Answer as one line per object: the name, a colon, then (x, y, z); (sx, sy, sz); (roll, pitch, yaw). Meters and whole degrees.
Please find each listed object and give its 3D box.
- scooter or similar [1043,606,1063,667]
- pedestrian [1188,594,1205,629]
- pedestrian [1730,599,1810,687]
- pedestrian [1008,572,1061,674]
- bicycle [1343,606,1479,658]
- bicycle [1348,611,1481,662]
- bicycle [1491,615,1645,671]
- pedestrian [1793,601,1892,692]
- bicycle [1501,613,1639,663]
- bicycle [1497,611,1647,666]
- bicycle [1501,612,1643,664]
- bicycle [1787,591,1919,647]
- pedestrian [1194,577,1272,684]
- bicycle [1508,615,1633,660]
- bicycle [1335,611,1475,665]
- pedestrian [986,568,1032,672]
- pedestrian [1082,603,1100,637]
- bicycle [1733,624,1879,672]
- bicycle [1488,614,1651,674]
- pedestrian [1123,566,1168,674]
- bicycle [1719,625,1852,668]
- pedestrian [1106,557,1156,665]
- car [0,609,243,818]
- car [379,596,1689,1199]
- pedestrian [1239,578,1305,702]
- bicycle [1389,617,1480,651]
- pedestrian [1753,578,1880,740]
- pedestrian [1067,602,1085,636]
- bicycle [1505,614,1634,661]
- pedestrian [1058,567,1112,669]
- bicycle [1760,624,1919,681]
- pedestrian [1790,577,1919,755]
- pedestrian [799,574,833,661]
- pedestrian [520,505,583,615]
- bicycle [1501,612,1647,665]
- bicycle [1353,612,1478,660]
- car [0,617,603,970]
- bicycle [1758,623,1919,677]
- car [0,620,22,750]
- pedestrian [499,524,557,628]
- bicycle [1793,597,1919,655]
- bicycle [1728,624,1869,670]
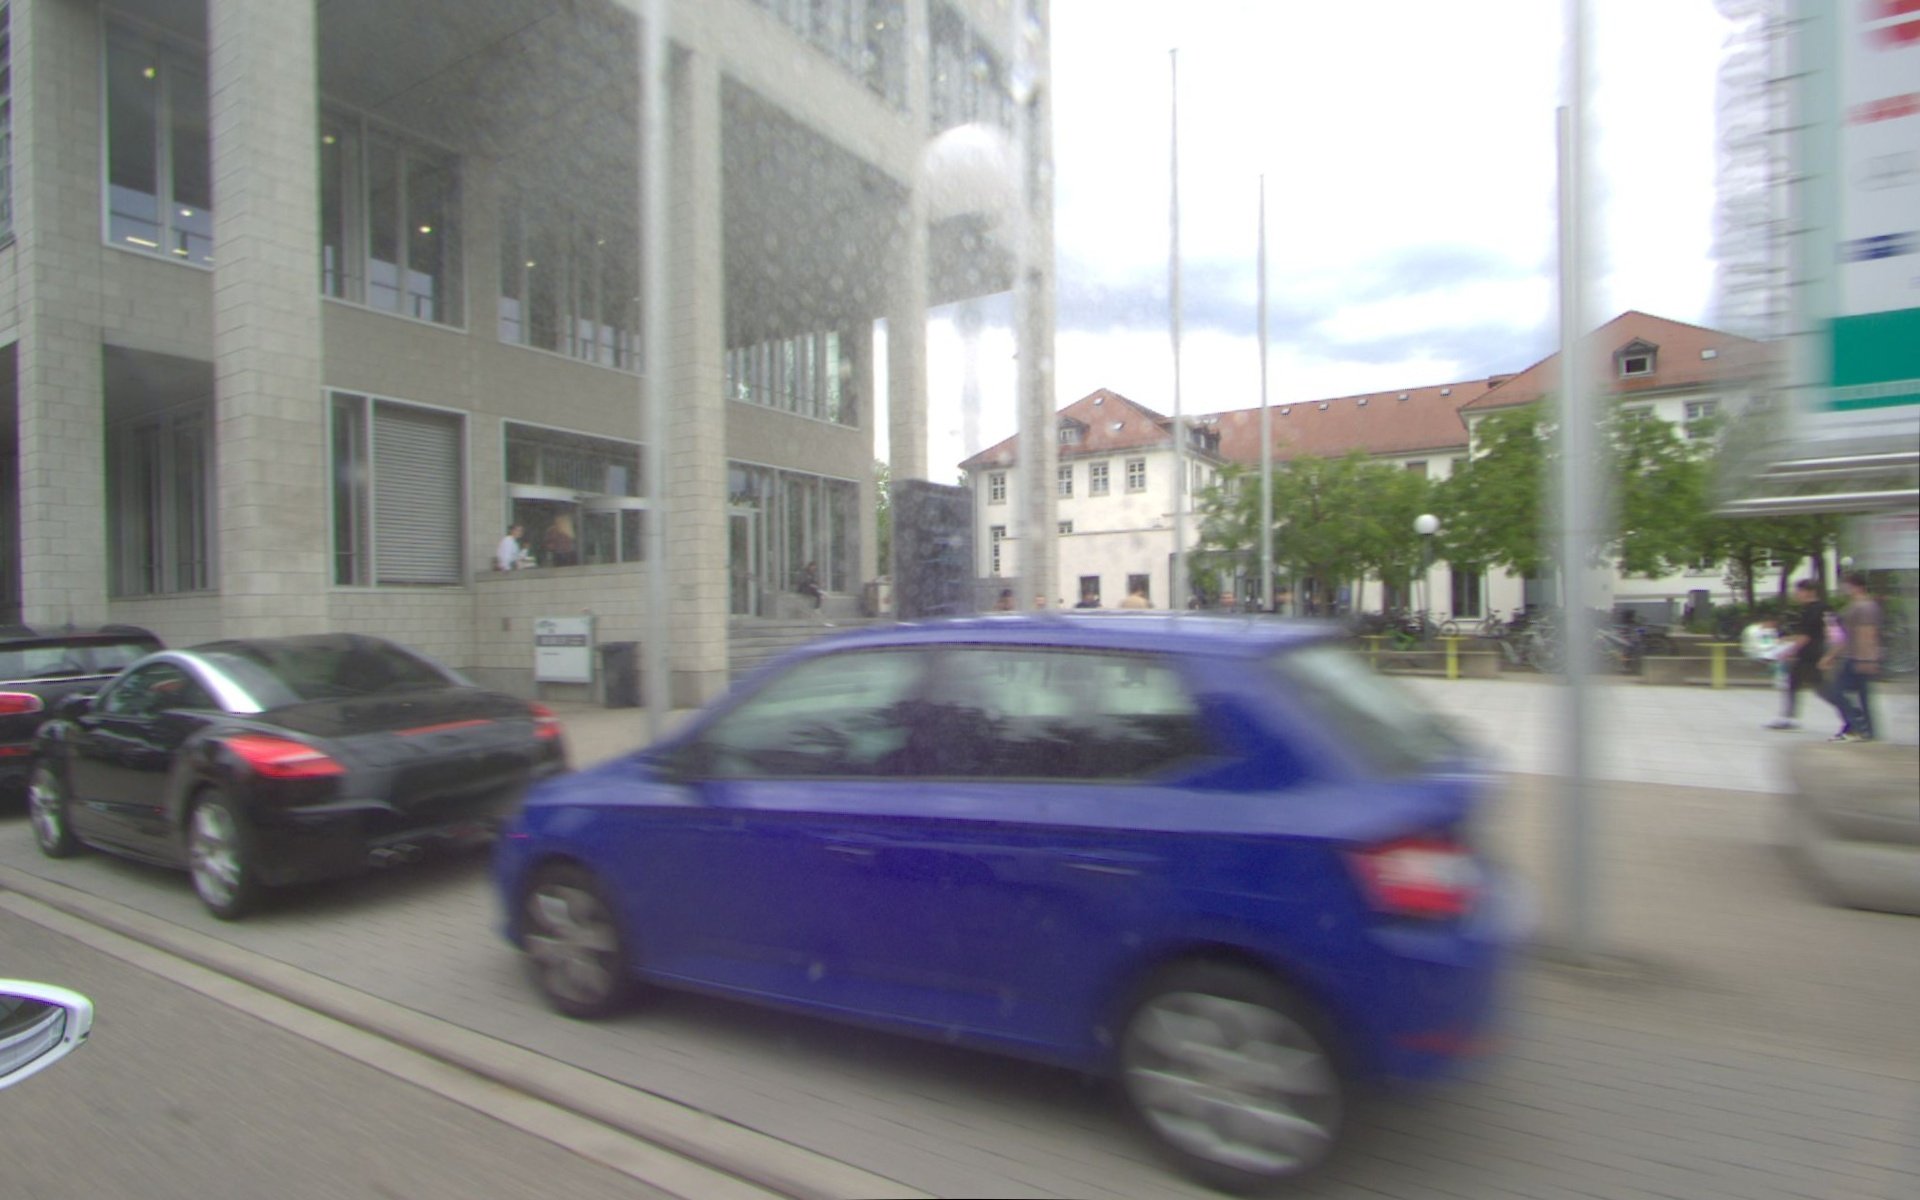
scooter or similar: (2.176, 0.836, 23.581); (0.397, 1.387, 1.492); (2, 0, 4)
pedestrian: (11.402, 0.536, 48.222); (0.649, 1.663, 0.666); (-1, 0, 1)
pedestrian: (13.504, 0.715, 16.711); (0.754, 1.431, 0.673); (-1, 0, 1)
pedestrian: (1.307, 0.397, 17.508); (0.595, 1.738, 0.775); (-1, 0, 33)
bicycle: (11.446, 0.797, 25.510); (3.064, 1.185, 0.744); (2, 0, 34)
bicycle: (11.849, 0.932, 26.179); (3.064, 1.185, 0.744); (2, 0, 34)
bicycle: (14.393, 0.994, 23.782); (3.064, 1.185, 0.744); (2, 0, 34)
pedestrian: (14.477, 0.750, 16.455); (0.952, 1.439, 0.850); (-1, 0, 21)
bicycle: (16.110, 0.982, 26.529); (3.064, 1.185, 0.744); (2, 0, 34)
bicycle: (14.938, 0.920, 24.520); (3.064, 1.185, 0.744); (2, 0, 34)
bicycle: (15.749, 0.962, 25.834); (3.064, 1.185, 0.744); (2, 0, 34)
bicycle: (20.053, 0.406, 21.800); (3.065, 1.185, 0.743); (-1, -1, 34)
pedestrian: (4.393, 0.471, 16.123); (0.921, 1.662, 0.730); (2, 0, 44)
bicycle: (17.814, 1.070, 29.282); (3.063, 1.185, 0.744); (2, 0, 33)
bicycle: (11.011, 0.922, 24.854); (3.064, 1.185, 0.744); (2, 0, 34)
pedestrian: (0.892, 0.370, 18.350); (0.611, 1.864, 0.589); (-1, -1, 33)
pedestrian: (6.370, 0.968, 48.791); (0.656, 1.662, 0.659); (-1, 0, 30)
bicycle: (23.880, 1.327, 28.365); (3.064, 1.185, 0.744); (2, 0, 34)
bicycle: (13.659, 0.955, 22.524); (3.064, 1.185, 0.618); (2, 0, 34)
pedestrian: (3.347, 0.354, 18.082); (0.592, 1.889, 0.779); (-1, 0, -3)
bicycle: (25.438, 1.408, 30.950); (3.064, 1.185, 0.744); (2, 0, 34)
pedestrian: (2.962, 0.189, 17.280); (0.724, 1.808, 0.763); (-1, 0, 19)
car: (-8.525, 0.863, 8.938); (4.454, 1.462, 1.814); (-1, 1, 31)
car: (-0.057, 0.757, 3.762); (4.310, 1.430, 1.693); (-1, 0, 29)
pedestrian: (4.394, 0.552, 14.094); (0.695, 1.691, 0.753); (-1, 0, 33)
bicycle: (18.115, 1.278, 38.272); (3.064, 1.185, 0.744); (2, 0, 34)
pedestrian: (9.564, 0.635, 11.192); (0.895, 1.736, 0.691); (1, 2, -24)
pedestrian: (5.711, 0.949, 49.204); (0.684, 1.662, 0.659); (-1, 0, 30)
bicycle: (17.384, 1.048, 28.637); (3.063, 1.185, 0.744); (2, 0, 33)
pedestrian: (2.316, 0.332, 18.506); (0.724, 1.808, 0.720); (4, 0, 19)
bicycle: (20.992, 1.221, 23.759); (3.064, 1.185, 0.744); (2, 0, 34)
pedestrian: (9.076, 0.649, 10.167); (0.769, 1.736, 0.645); (1, 1, -22)
pedestrian: (-3.446, 0.411, 23.955); (0.531, 2.040, 0.595); (-1, 0, 31)
pedestrian: (-6.544, -0.624, 16.039); (0.796, 1.680, 0.627); (2, 0, -33)
bicycle: (15.383, 0.942, 25.159); (3.064, 1.185, 0.744); (2, 0, 34)
bicycle: (12.651, 0.978, 27.867); (3.064, 1.185, 0.744); (2, 0, 34)
car: (-4.442, 0.887, 6.376); (4.356, 1.461, 1.844); (1, 0, 33)
bicycle: (21.691, 1.212, 24.690); (3.064, 1.185, 0.744); (2, 0, 34)
car: (-13.394, 1.019, 12.000); (4.853, 1.471, 1.989); (-2, -1, 32)
pedestrian: (-7.201, -0.389, 16.689); (0.625, 1.680, 0.799); (2, 0, -42)
bicycle: (19.370, 0.538, 20.831); (3.065, 1.185, 0.743); (-1, -1, 34)
bicycle: (24.512, 1.359, 29.374); (3.064, 1.185, 0.744); (2, 0, 34)
